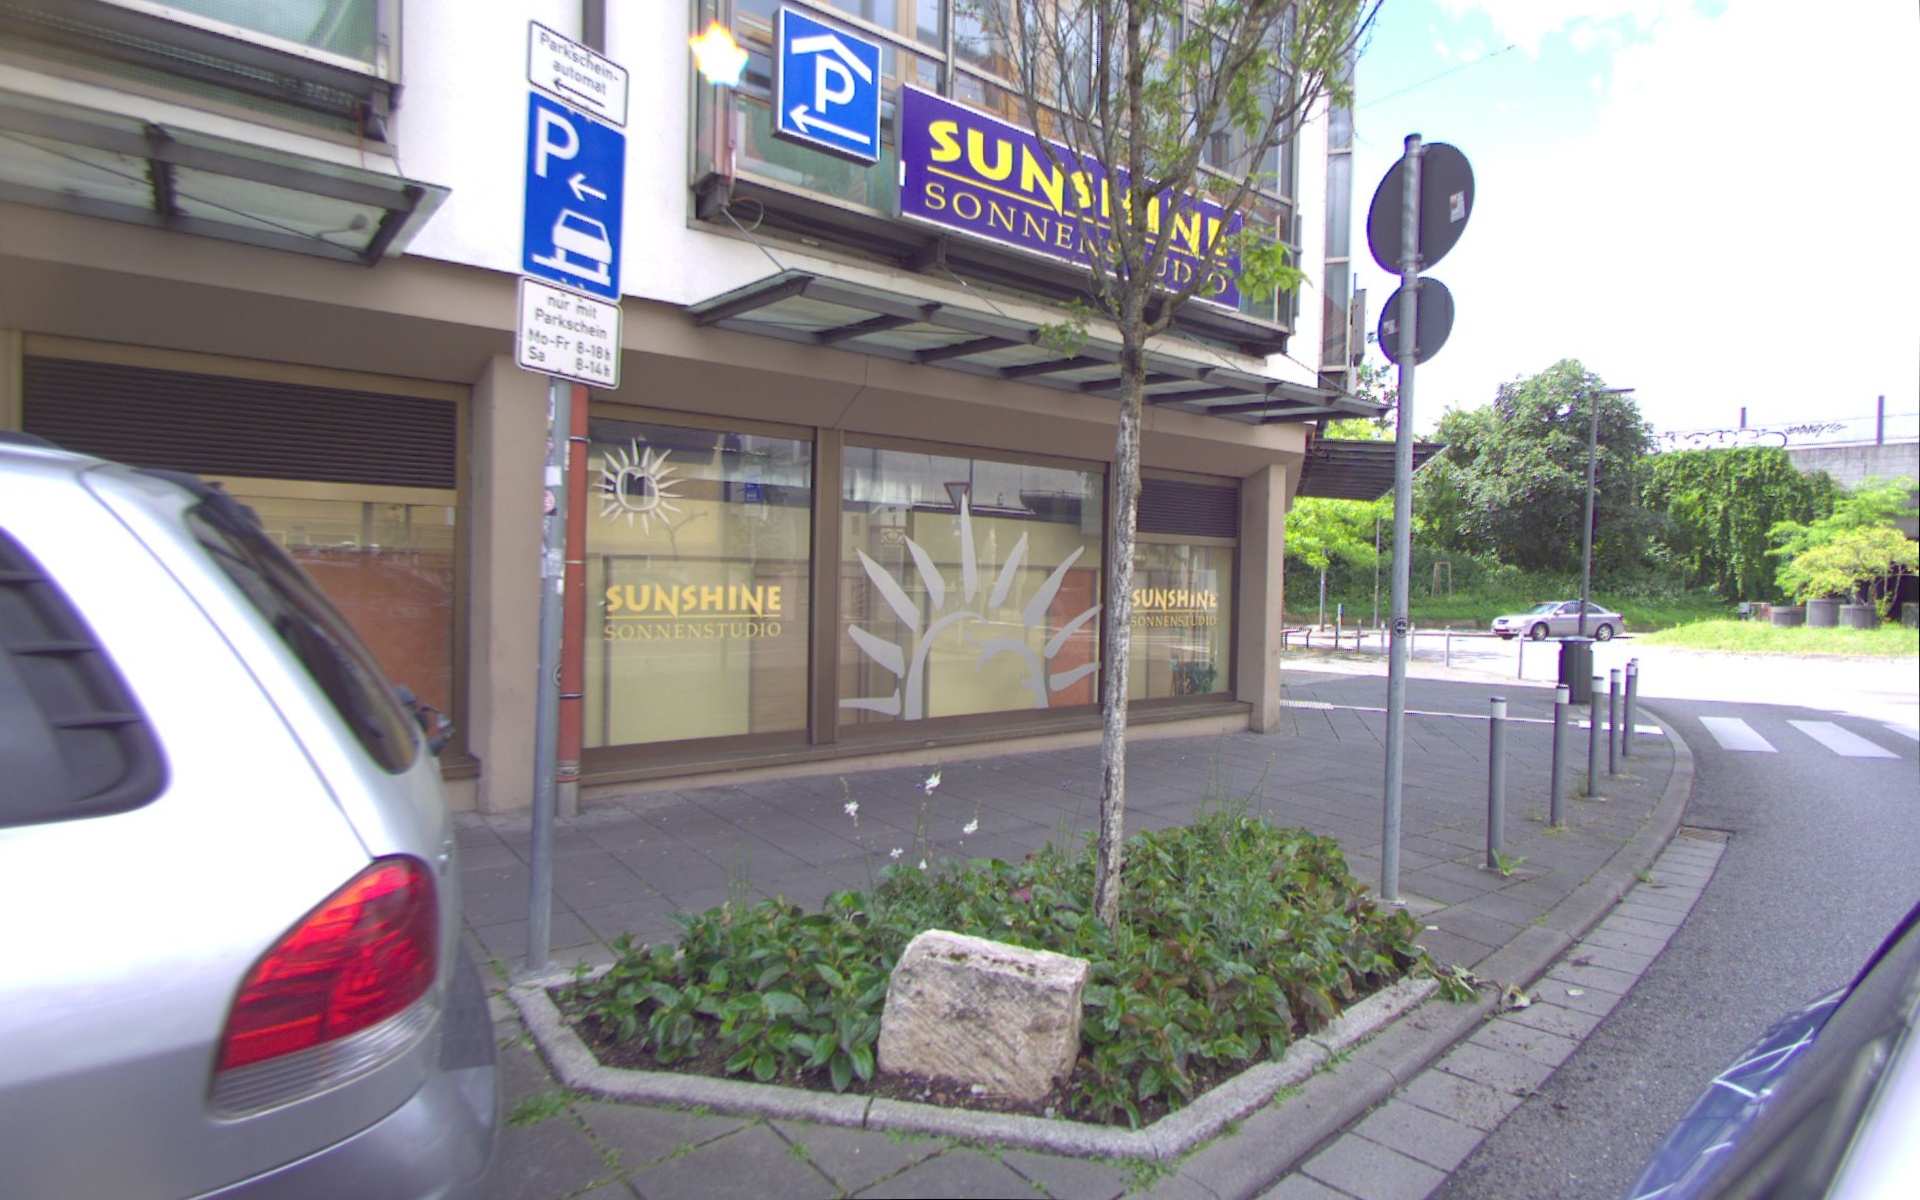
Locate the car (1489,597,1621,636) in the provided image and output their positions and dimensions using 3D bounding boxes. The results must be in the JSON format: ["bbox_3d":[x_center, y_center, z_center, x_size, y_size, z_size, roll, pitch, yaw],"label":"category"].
[{"bbox_3d":[21.622,0.577,36.861,3.918,1.371,1.718,0,0,-9],"label":"car"}]

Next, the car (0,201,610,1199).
[{"bbox_3d":[-2.704,0.440,0.957,4.151,1.752,1.831,0,2,-34],"label":"car"}]
